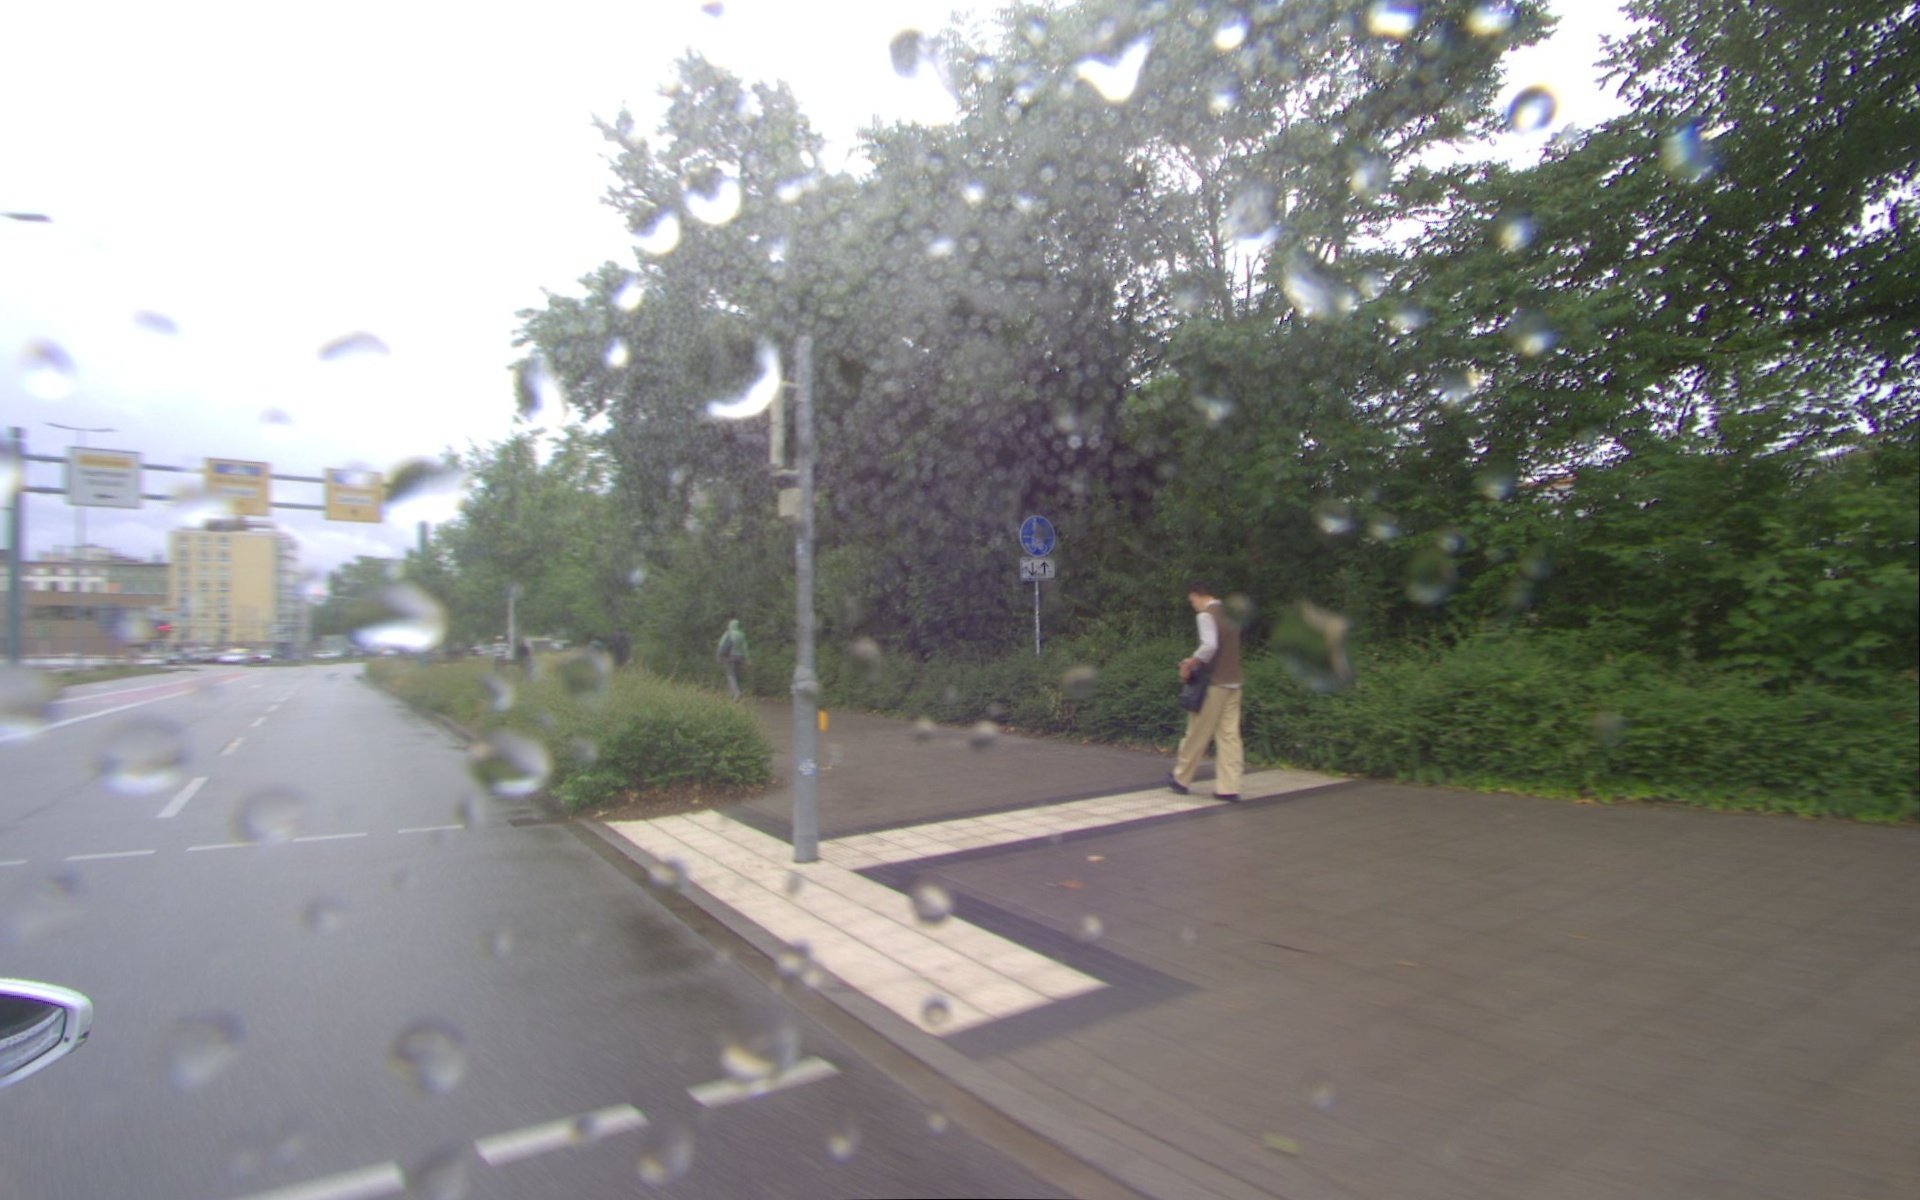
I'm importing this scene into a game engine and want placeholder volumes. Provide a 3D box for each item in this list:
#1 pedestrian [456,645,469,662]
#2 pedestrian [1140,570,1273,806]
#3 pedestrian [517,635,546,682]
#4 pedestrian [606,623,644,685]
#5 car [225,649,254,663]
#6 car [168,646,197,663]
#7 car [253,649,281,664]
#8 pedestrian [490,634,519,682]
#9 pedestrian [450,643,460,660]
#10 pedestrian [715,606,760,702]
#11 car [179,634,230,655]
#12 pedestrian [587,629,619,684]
[{"bbox_3d":[-46.422,4.968,93.474,1.008,1.608,0.934,1,-2,-20],"label":"pedestrian"},{"bbox_3d":[2.097,0.724,8.574,0.721,1.883,0.847,0,-1,-27],"label":"pedestrian"},{"bbox_3d":[-16.440,2.241,38.409,0.923,1.726,0.824,2,0,-29],"label":"pedestrian"},{"bbox_3d":[-9.860,1.571,29.466,0.922,1.770,1.041,0,-2,-27],"label":"pedestrian"},{"bbox_3d":[-76.323,5.907,106.058,1.657,1.422,4.145,0,-2,-24],"label":"car"},{"bbox_3d":[-80.198,5.615,103.314,1.685,1.727,3.804,1,-3,-28],"label":"car"},{"bbox_3d":[-78.692,6.407,113.764,1.970,1.657,4.584,-1,-2,-27],"label":"car"},{"bbox_3d":[-17.308,2.204,38.043,0.923,1.744,0.824,2,0,-29],"label":"pedestrian"},{"bbox_3d":[-48.285,4.940,95.805,0.743,1.608,0.934,0,-2,-20],"label":"pedestrian"},{"bbox_3d":[-4.875,1.173,21.914,0.781,2.039,0.825,0,-1,-27],"label":"pedestrian"},{"bbox_3d":[-131.505,7.727,174.335,6.663,3.423,2.797,1,-2,-28],"label":"car"},{"bbox_3d":[-12.164,1.911,34.081,0.922,1.820,0.825,0,-1,-28],"label":"pedestrian"}]
